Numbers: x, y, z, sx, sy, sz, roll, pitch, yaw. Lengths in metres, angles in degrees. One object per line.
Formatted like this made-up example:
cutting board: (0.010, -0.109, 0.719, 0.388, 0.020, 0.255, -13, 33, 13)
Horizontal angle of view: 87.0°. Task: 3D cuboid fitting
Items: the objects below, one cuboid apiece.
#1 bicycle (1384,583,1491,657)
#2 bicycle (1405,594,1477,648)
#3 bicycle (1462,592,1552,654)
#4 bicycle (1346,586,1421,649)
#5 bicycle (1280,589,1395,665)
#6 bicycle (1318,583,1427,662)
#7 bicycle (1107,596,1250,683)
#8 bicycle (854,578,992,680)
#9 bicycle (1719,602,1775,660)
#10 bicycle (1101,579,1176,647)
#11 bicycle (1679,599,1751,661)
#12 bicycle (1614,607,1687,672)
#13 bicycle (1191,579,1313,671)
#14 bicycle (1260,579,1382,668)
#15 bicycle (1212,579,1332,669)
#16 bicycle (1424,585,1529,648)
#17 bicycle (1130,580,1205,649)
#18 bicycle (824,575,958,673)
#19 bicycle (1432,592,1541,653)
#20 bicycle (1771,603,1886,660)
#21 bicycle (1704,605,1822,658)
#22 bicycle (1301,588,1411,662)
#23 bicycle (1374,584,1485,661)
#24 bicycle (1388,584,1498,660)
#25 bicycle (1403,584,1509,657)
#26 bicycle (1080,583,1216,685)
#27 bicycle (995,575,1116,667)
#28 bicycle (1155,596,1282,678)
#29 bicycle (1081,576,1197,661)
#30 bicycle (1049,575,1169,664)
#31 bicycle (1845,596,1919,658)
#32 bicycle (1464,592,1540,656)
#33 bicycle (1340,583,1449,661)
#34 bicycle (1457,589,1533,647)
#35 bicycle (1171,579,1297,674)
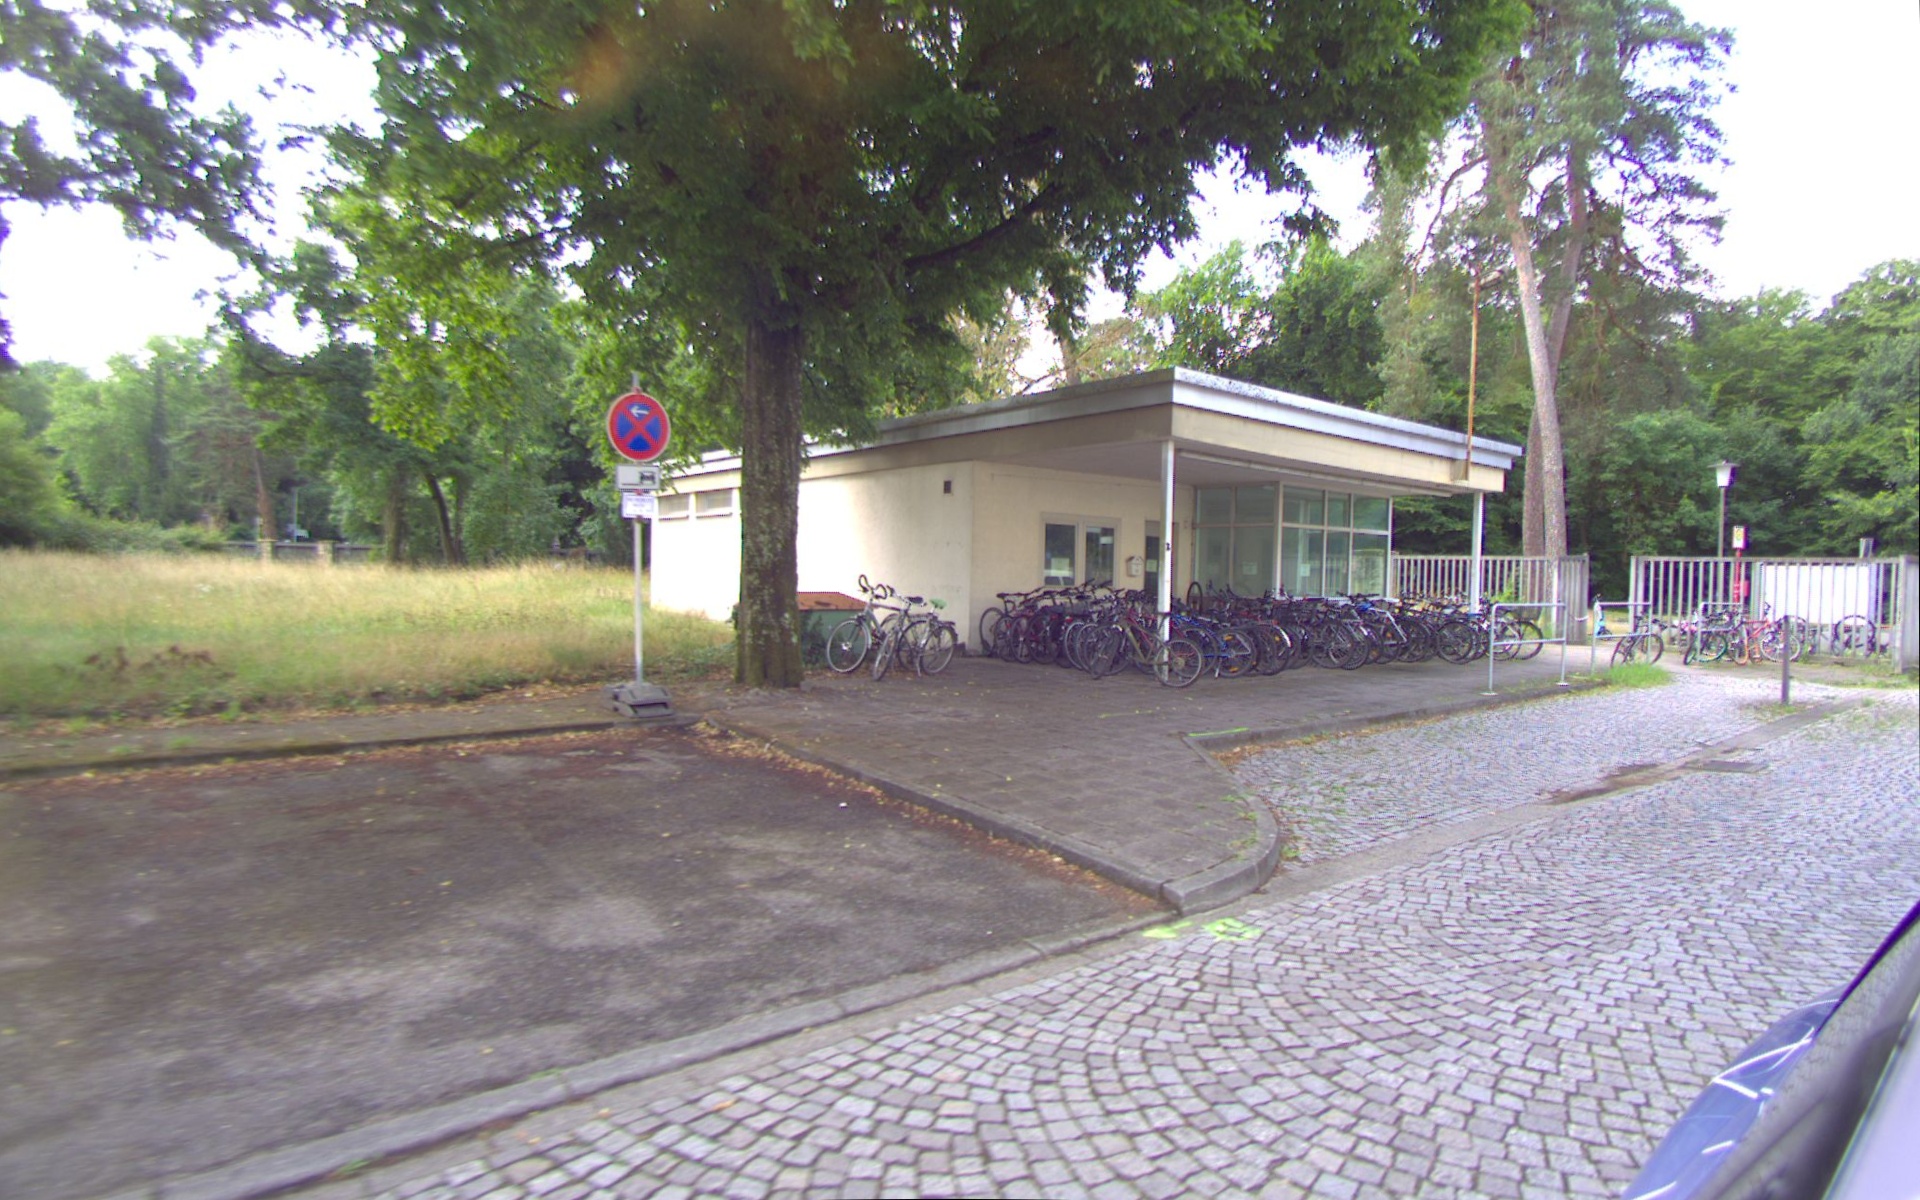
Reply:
bicycle: (8.313, 0.326, 17.667, 1.613, 1.155, 0.350, 5, 3, 44)
bicycle: (9.606, 0.422, 20.208, 1.328, 1.023, 0.406, 1, 1, -16)
bicycle: (9.851, 0.398, 18.264, 1.391, 1.059, 0.336, 2, 1, 25)
bicycle: (7.864, 0.311, 18.754, 1.800, 1.089, 0.491, 0, 3, -41)
bicycle: (5.930, 0.406, 15.951, 1.626, 1.062, 0.330, 5, 3, 37)
bicycle: (6.727, 0.349, 16.563, 1.592, 1.155, 0.320, 5, 3, 44)
bicycle: (2.899, 0.495, 13.436, 1.725, 0.988, 0.754, 4, 3, 21)
bicycle: (-0.430, 0.323, 12.229, 1.606, 1.130, 0.598, 0, 3, -41)
bicycle: (15.379, 0.577, 19.762, 1.701, 1.070, 0.474, 0, 2, -39)
bicycle: (3.083, 0.198, 17.376, 0.478, 1.089, 1.657, 4, 3, 39)
bicycle: (13.912, 0.532, 18.637, 1.537, 1.075, 0.692, 0, 2, -39)
bicycle: (11.363, 0.627, 16.641, 1.625, 0.964, 0.535, -1, 2, -39)
bicycle: (4.233, 0.336, 14.757, 1.627, 1.204, 0.414, 5, 3, 39)
bicycle: (5.485, 0.335, 15.419, 1.627, 1.204, 0.492, 5, 3, 39)
bicycle: (4.662, 0.333, 15.182, 1.627, 1.204, 0.414, 5, 3, 39)
bicycle: (9.928, 0.308, 19.495, 1.711, 1.146, 0.473, 1, 1, 7)
bicycle: (3.492, 0.223, 16.975, 0.478, 1.089, 1.657, 4, 3, 39)
bicycle: (-0.845, 0.276, 12.700, 1.606, 1.130, 0.598, 0, 3, -41)
bicycle: (9.816, 0.408, 18.911, 1.723, 1.059, 0.453, 2, 1, 13)
bicycle: (18.130, 0.636, 21.166, 0.380, 1.046, 1.731, 1, 3, -37)
bicycle: (16.873, 0.642, 21.306, 0.495, 0.950, 1.865, 0, 3, -44)
bicycle: (6.362, 0.378, 16.325, 1.592, 1.062, 0.320, 5, 3, 44)
bicycle: (7.843, 0.349, 16.955, 1.613, 1.155, 0.320, 5, 3, 44)
bicycle: (8.168, 0.348, 17.155, 1.613, 1.155, 0.320, 5, 3, 44)
bicycle: (8.829, 0.344, 18.049, 1.613, 1.155, 0.350, 5, 3, 44)
bicycle: (2.336, 0.398, 12.732, 1.673, 1.122, 0.334, 5, 3, 38)
bicycle: (1.355, 0.267, 14.674, 0.598, 1.179, 1.743, 0, 3, -43)
bicycle: (3.543, 0.497, 13.898, 1.616, 0.988, 0.320, 4, 2, 21)
bicycle: (2.793, 0.258, 15.939, 0.598, 1.179, 1.743, 0, 3, -43)
bicycle: (2.214, 0.265, 15.218, 0.598, 1.179, 1.743, 0, 3, -43)
bicycle: (20.083, 0.576, 21.659, 1.650, 1.245, 0.737, 5, 3, 44)
bicycle: (9.608, 0.418, 17.955, 1.144, 1.076, 0.284, 2, 1, 31)
bicycle: (7.255, 0.346, 16.957, 1.613, 1.155, 0.320, 5, 3, 44)
bicycle: (11.054, 0.360, 20.903, 1.648, 1.152, 0.650, 1, 2, -33)
bicycle: (3.891, 0.352, 14.432, 1.627, 1.204, 0.467, 5, 3, 38)
